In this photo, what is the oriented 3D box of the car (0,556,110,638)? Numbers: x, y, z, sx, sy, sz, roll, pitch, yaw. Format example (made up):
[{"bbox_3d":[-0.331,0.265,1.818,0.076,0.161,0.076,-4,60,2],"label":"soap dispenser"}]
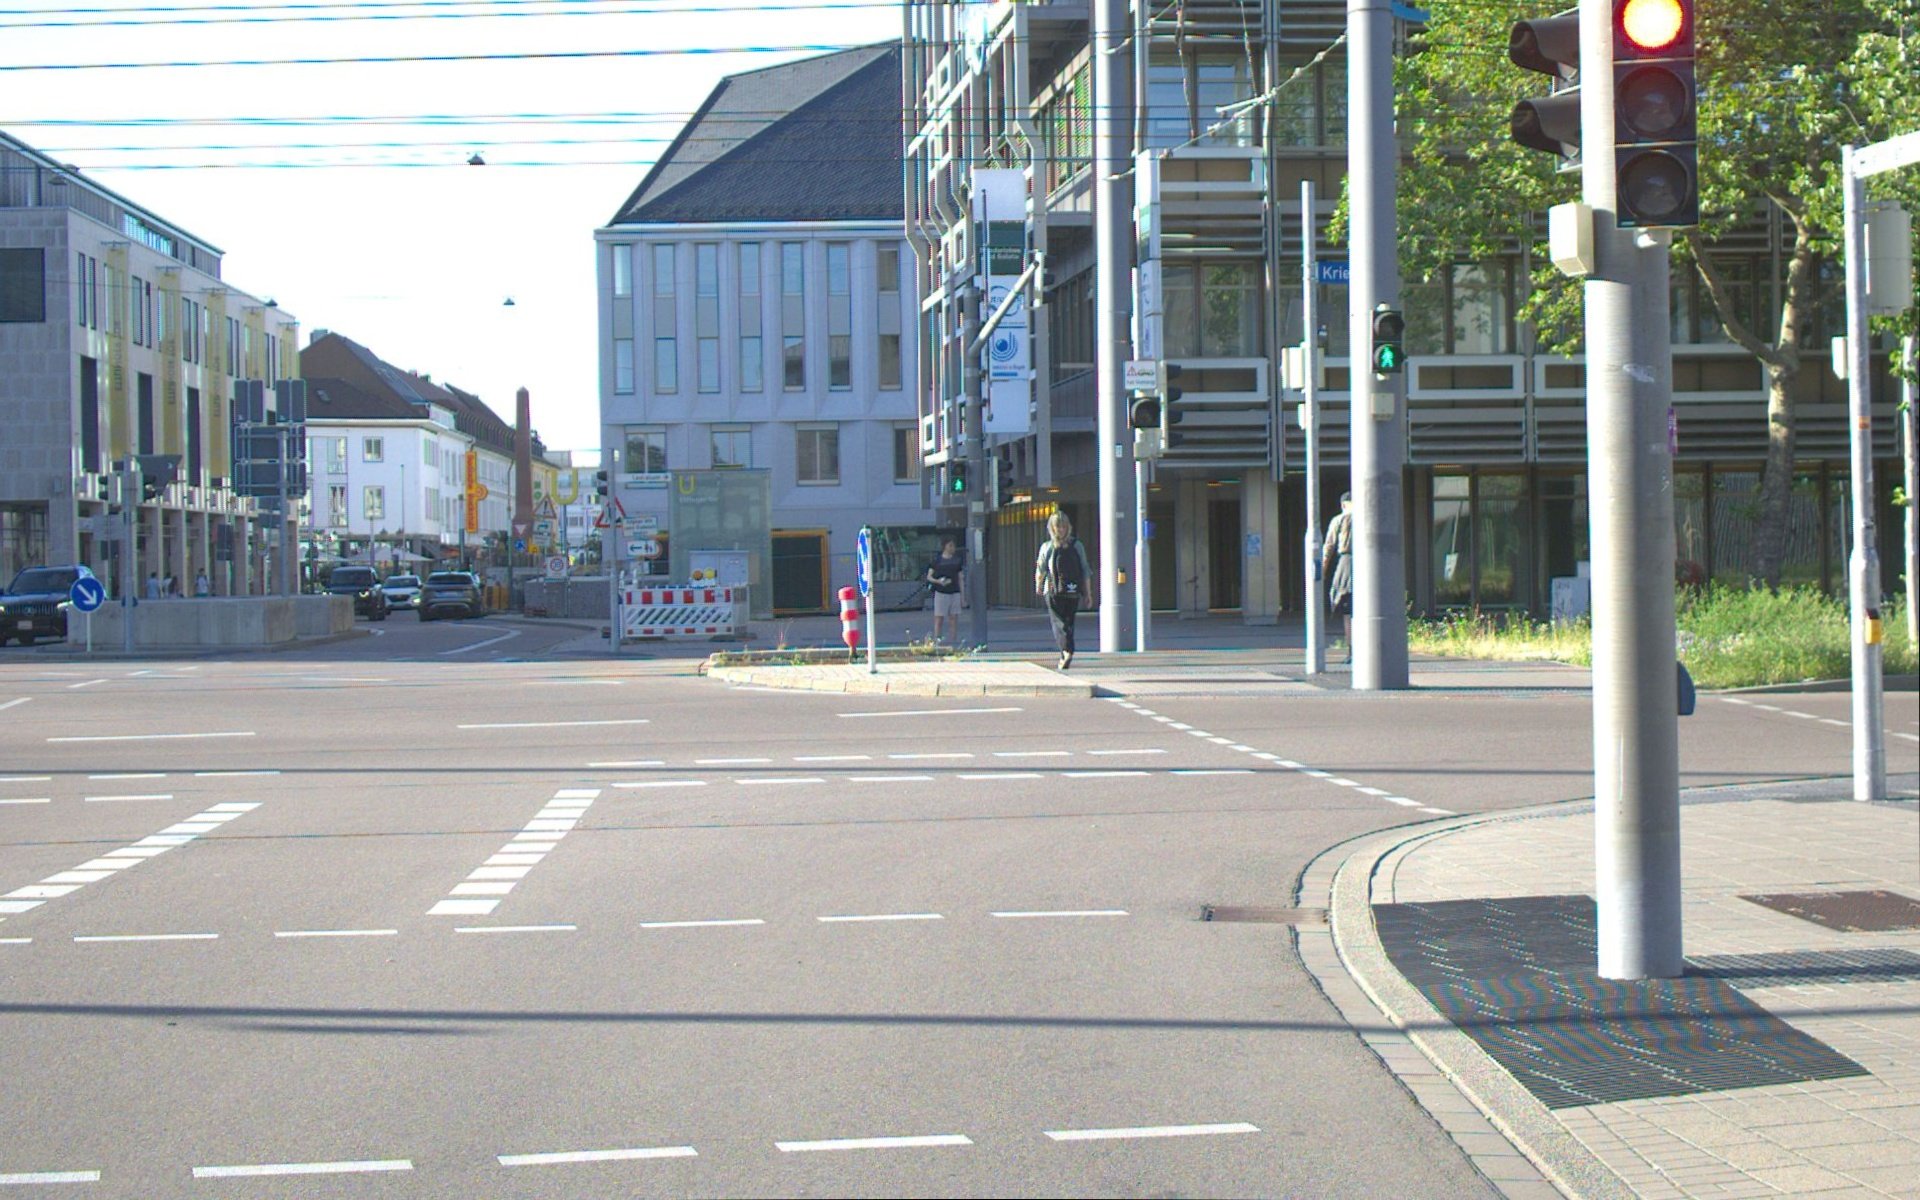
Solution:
[{"bbox_3d":[-19.295,-0.083,72.646,1.937,1.672,4.295,-1,1,-5],"label":"car"}]

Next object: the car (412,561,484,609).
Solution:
[{"bbox_3d":[-16.112,-0.470,108.349,1.936,1.445,4.263,-1,0,-4],"label":"car"}]

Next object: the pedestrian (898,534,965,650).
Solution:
[{"bbox_3d":[-0.469,-0.142,57.345,1.012,1.904,1.050,0,1,5],"label":"pedestrian"}]

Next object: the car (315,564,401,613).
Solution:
[{"bbox_3d":[-21.450,-0.413,122.643,2.174,1.686,5.487,-1,0,-1],"label":"car"}]

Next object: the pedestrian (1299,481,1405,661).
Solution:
[{"bbox_3d":[3.829,-0.292,33.640,0.855,1.738,0.739,-1,1,-8],"label":"pedestrian"}]

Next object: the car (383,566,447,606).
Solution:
[{"bbox_3d":[-23.202,-0.591,146.515,2.174,1.686,5.616,-1,0,-3],"label":"car"}]

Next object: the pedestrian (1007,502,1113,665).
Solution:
[{"bbox_3d":[0.974,-0.174,33.669,0.895,1.544,0.924,-1,2,-7],"label":"pedestrian"}]

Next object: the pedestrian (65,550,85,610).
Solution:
[{"bbox_3d":[-29.987,-0.674,116.477,0.616,2.007,0.478,1,0,-15],"label":"pedestrian"}]

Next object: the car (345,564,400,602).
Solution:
[{"bbox_3d":[-29.501,-0.846,172.758,2.174,1.866,5.616,-1,0,-4],"label":"car"}]

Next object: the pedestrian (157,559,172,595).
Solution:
[{"bbox_3d":[-29.449,-0.855,127.285,0.488,1.352,0.564,1,0,-6],"label":"pedestrian"}]

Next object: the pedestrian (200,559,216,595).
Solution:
[{"bbox_3d":[-28.248,-0.857,129.127,0.488,1.352,0.564,1,0,-6],"label":"pedestrian"}]
